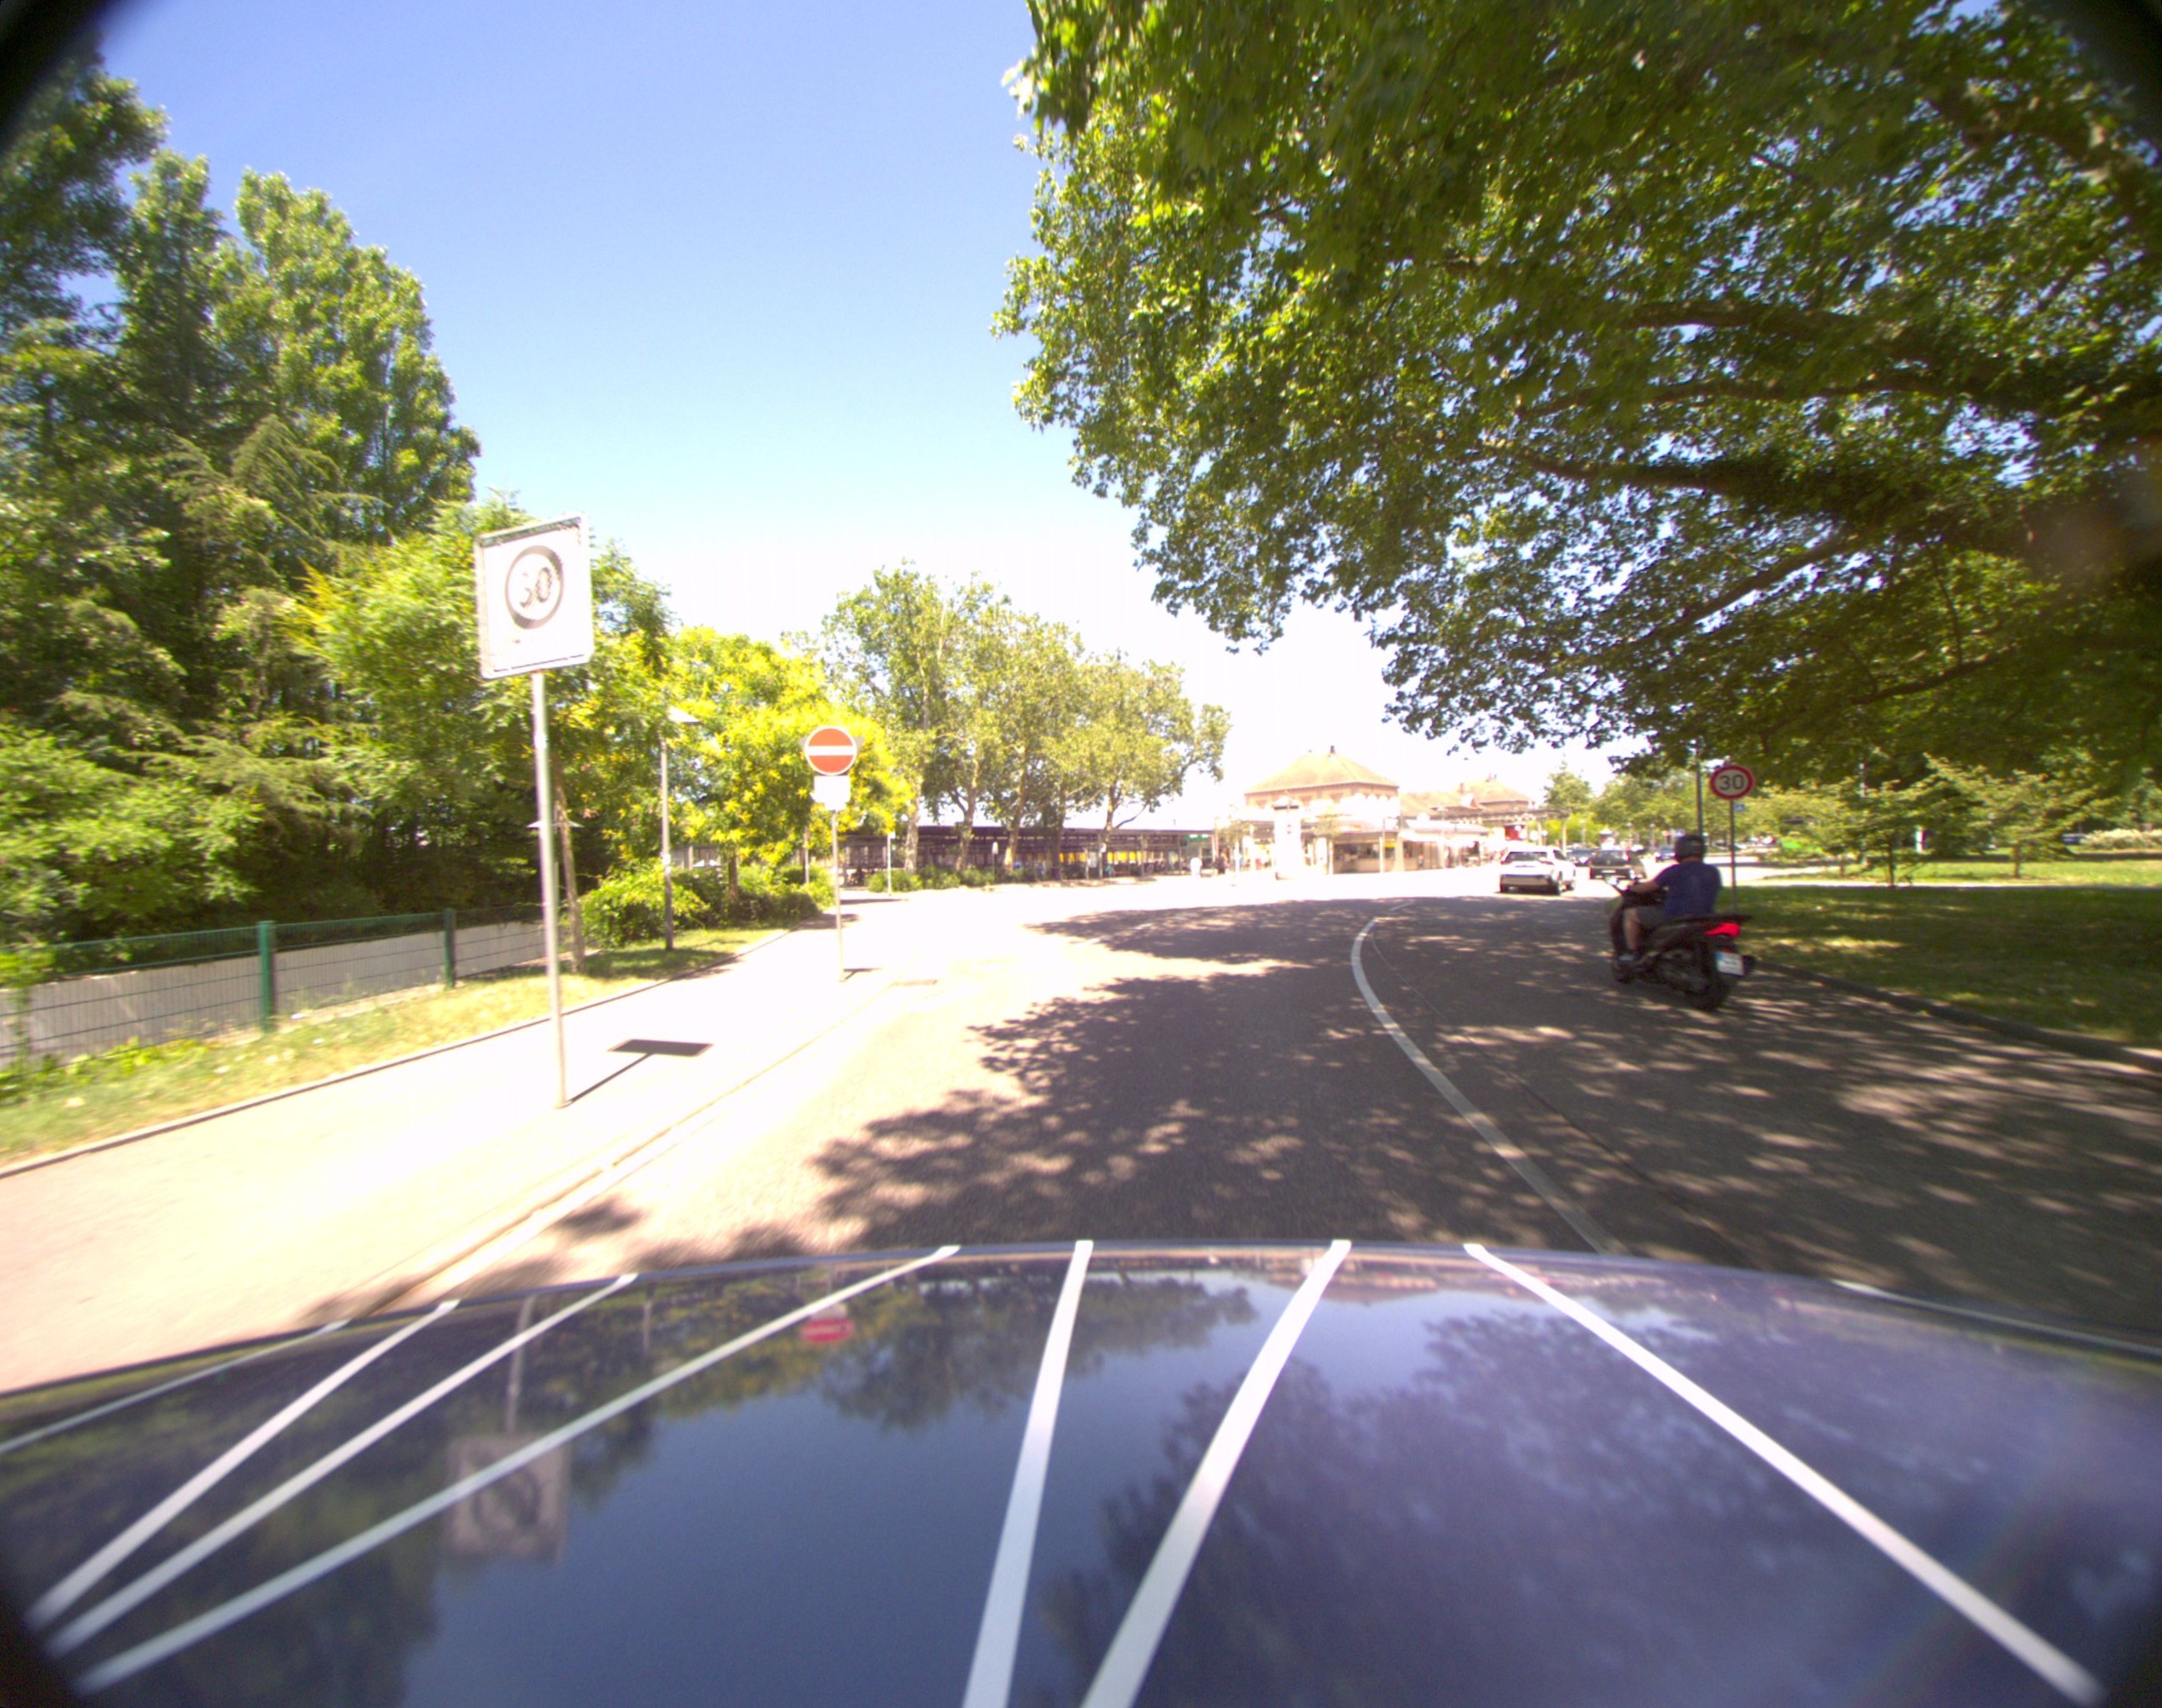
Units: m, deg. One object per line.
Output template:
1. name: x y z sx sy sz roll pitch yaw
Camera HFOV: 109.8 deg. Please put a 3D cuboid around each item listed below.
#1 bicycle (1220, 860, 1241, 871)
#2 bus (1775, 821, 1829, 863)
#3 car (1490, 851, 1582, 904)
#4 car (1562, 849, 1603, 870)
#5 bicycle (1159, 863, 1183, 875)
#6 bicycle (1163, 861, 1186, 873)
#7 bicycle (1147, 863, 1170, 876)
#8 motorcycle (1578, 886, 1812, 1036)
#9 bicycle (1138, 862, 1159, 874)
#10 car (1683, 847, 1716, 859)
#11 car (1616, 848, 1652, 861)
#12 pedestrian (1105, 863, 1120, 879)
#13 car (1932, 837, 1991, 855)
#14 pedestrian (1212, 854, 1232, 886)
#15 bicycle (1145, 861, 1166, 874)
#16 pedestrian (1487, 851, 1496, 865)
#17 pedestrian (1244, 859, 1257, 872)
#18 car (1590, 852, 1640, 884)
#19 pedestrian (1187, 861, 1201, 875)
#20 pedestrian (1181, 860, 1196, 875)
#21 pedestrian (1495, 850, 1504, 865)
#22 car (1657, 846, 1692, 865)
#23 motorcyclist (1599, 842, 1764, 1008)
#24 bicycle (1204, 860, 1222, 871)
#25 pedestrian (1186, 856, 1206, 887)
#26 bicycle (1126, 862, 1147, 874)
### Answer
1. bicycle: 15.446 1.223 78.779 0.671 1.067 2.163 -5 4 -39
2. bus: 62.090 -1.041 65.304 11.881 3.283 2.809 -1 -1 -44
3. car: 16.432 0.792 27.330 2.043 1.737 4.333 0 0 42
4. car: 40.205 0.414 60.886 4.191 1.536 1.774 -1 1 -43
5. bicycle: 8.484 1.442 71.604 2.163 1.068 0.671 0 4 44
6. bicycle: 9.673 1.350 78.742 2.164 1.068 0.865 -1 3 29
7. bicycle: 7.155 1.441 70.417 2.163 1.068 0.671 0 4 44
8. motorcycle: 6.010 0.976 7.638 0.809 1.224 2.052 -2 0 6
9. bicycle: 6.765 1.392 75.730 2.173 1.068 0.668 -5 4 -40
10. car: 96.551 -0.172 118.624 3.989 1.655 2.004 -2 -1 40
11. car: 79.332 0.087 109.028 3.989 1.655 2.004 -2 -1 43
12. pedestrian: 2.619 1.395 62.542 0.828 1.267 0.870 -2 0 43
13. car: 92.888 -0.836 80.216 2.004 1.793 3.989 -1 -1 -41
14. pedestrian: 8.022 0.930 43.258 0.914 1.774 0.695 -2 0 -3
15. bicycle: 7.386 1.333 74.963 2.173 1.068 0.668 -5 4 -40
16. pedestrian: 34.734 0.355 64.261 0.473 1.204 0.489 -2 0 -37
17. pedestrian: 17.059 1.182 76.627 0.832 1.297 0.960 -1 0 -42
18. car: 24.983 0.619 35.510 1.641 1.409 4.009 0 0 39
19. pedestrian: 10.445 1.316 70.107 0.832 1.297 0.960 -1 0 -42
20. pedestrian: 9.826 1.256 69.446 0.832 1.378 0.960 -1 0 -42
21. pedestrian: 35.293 0.316 64.046 0.502 1.225 0.514 -2 0 41
22. car: 51.289 0.114 65.658 4.191 1.536 1.774 -1 1 -43
23. motorcyclist: 6.017 0.680 7.690 0.809 1.546 1.105 -2 0 6
24. bicycle: 14.336 1.232 82.582 2.173 1.068 0.668 -5 4 -40
25. pedestrian: 6.549 0.974 43.222 0.915 1.725 0.675 -2 0 -5
26. bicycle: 5.610 1.439 76.961 2.173 1.068 0.668 -5 4 -40
